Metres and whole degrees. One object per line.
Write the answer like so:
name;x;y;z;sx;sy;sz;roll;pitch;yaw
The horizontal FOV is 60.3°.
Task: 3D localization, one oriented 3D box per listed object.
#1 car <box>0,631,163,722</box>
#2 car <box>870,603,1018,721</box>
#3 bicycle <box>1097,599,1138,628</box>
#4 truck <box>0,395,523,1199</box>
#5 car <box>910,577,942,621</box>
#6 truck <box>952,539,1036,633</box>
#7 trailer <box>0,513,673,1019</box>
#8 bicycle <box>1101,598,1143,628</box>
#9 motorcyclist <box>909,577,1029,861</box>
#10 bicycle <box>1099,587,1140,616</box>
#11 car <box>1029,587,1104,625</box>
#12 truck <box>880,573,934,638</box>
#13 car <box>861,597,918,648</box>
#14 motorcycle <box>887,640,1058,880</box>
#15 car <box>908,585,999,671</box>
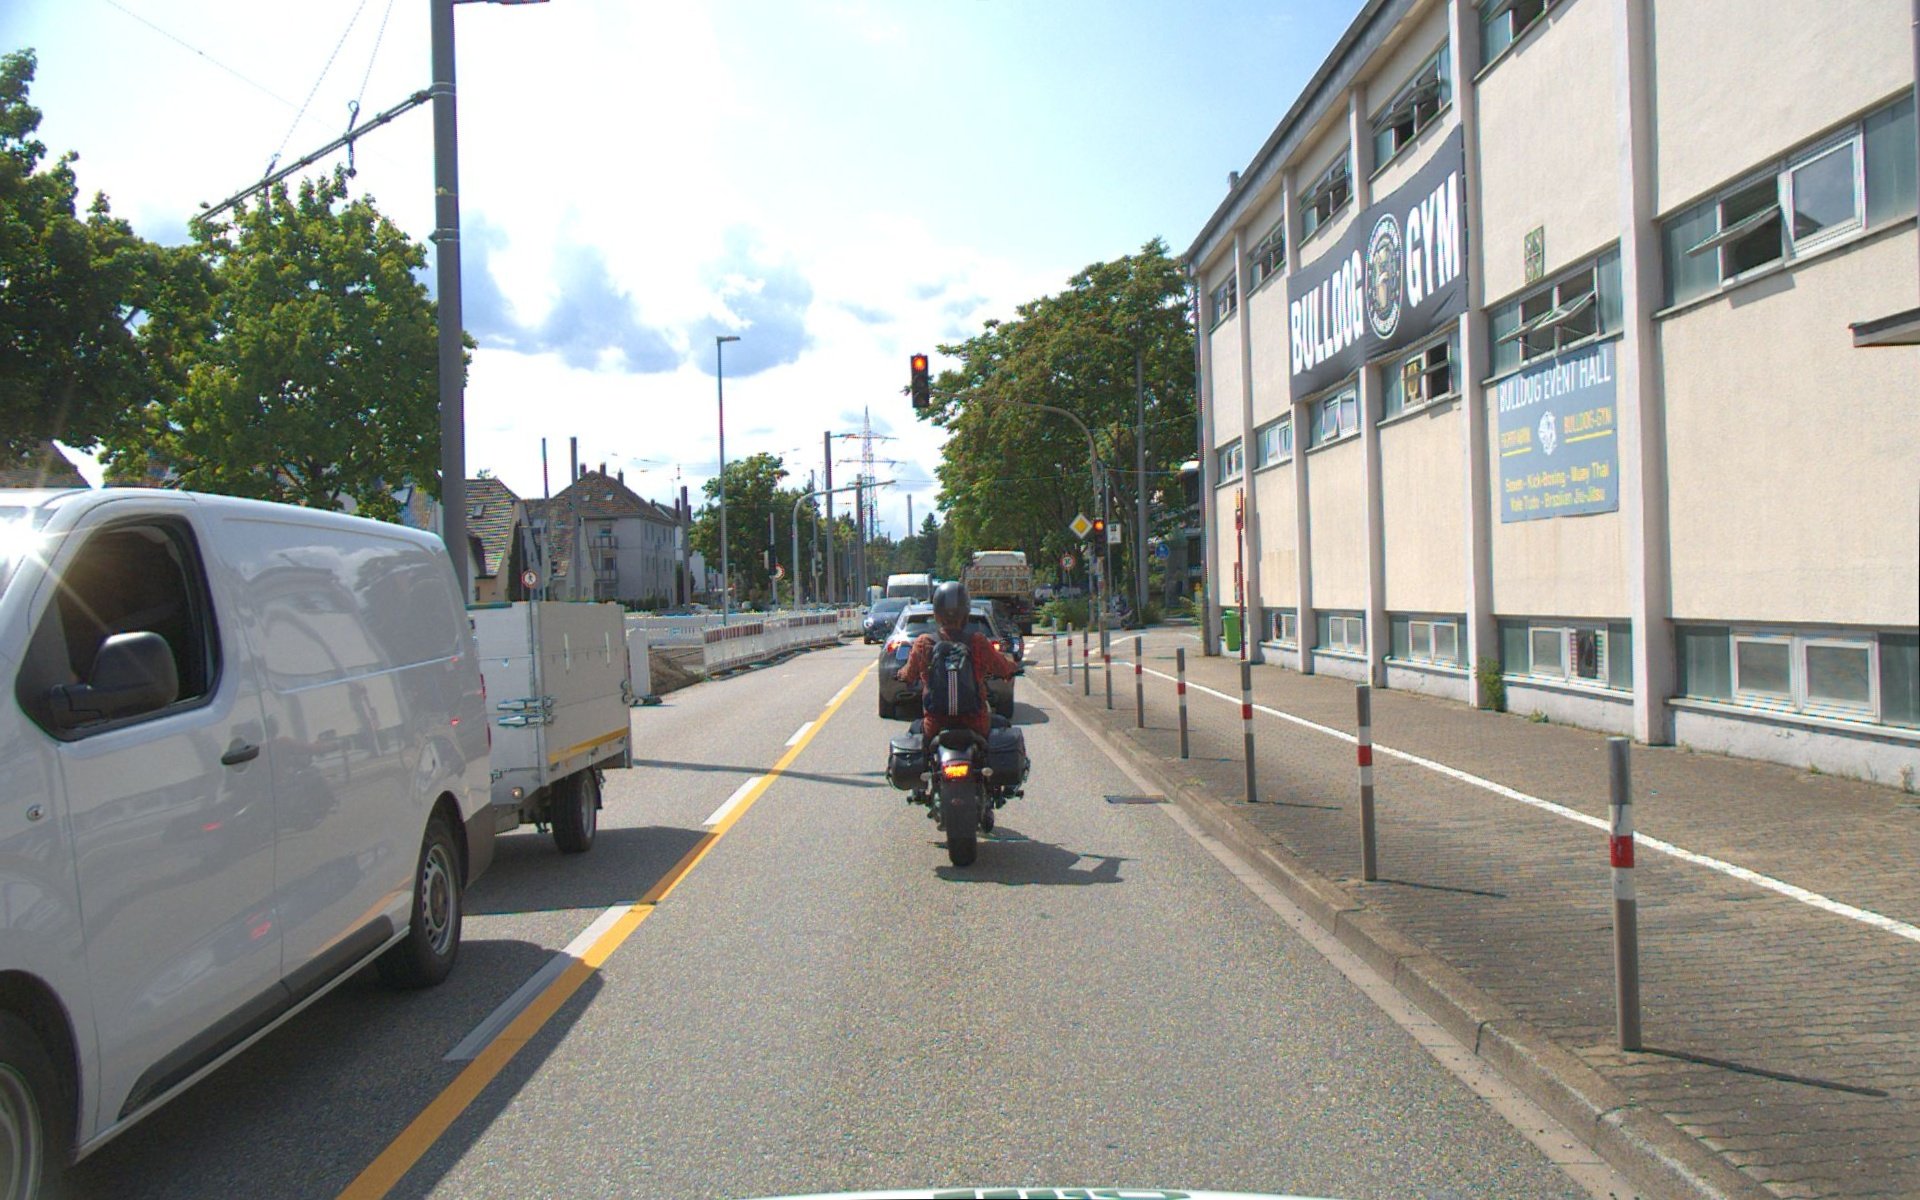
car;-16.125;1.349;30.100;1.511;1.400;4.246;-3;0;-6
car;-0.304;0.775;22.562;1.697;1.428;4.082;0;0;-5
bicycle;6.365;0.542;66.917;1.671;1.192;0.438;0;-1;4
truck;-2.935;0.611;5.134;1.783;1.942;5.114;-4;-1;-1
car;-1.738;-0.042;85.232;1.556;2.180;3.626;0;0;0
truck;1.326;-0.461;61.348;2.906;3.229;7.765;0;0;2
trailer;-3.118;0.679;9.276;2.021;1.867;5.484;-4;0;-1
bicycle;6.483;0.535;66.322;1.671;1.192;0.438;0;-1;4
motorcyclist;0.048;0.686;9.889;0.684;1.632;0.692;0;-1;-1
bicycle;6.504;0.054;67.525;1.671;1.192;0.438;0;-1;4
car;5.573;0.325;86.337;1.773;1.959;3.972;-1;-1;44
truck;-2.295;0.191;72.449;2.050;2.519;5.196;-3;2;0
car;-2.301;0.711;54.953;1.611;1.524;4.269;-1;1;1
motorcycle;0.057;0.899;10.214;0.923;1.221;2.472;0;0;-1
car;-0.085;0.595;38.569;1.861;1.742;4.721;-2;1;2
